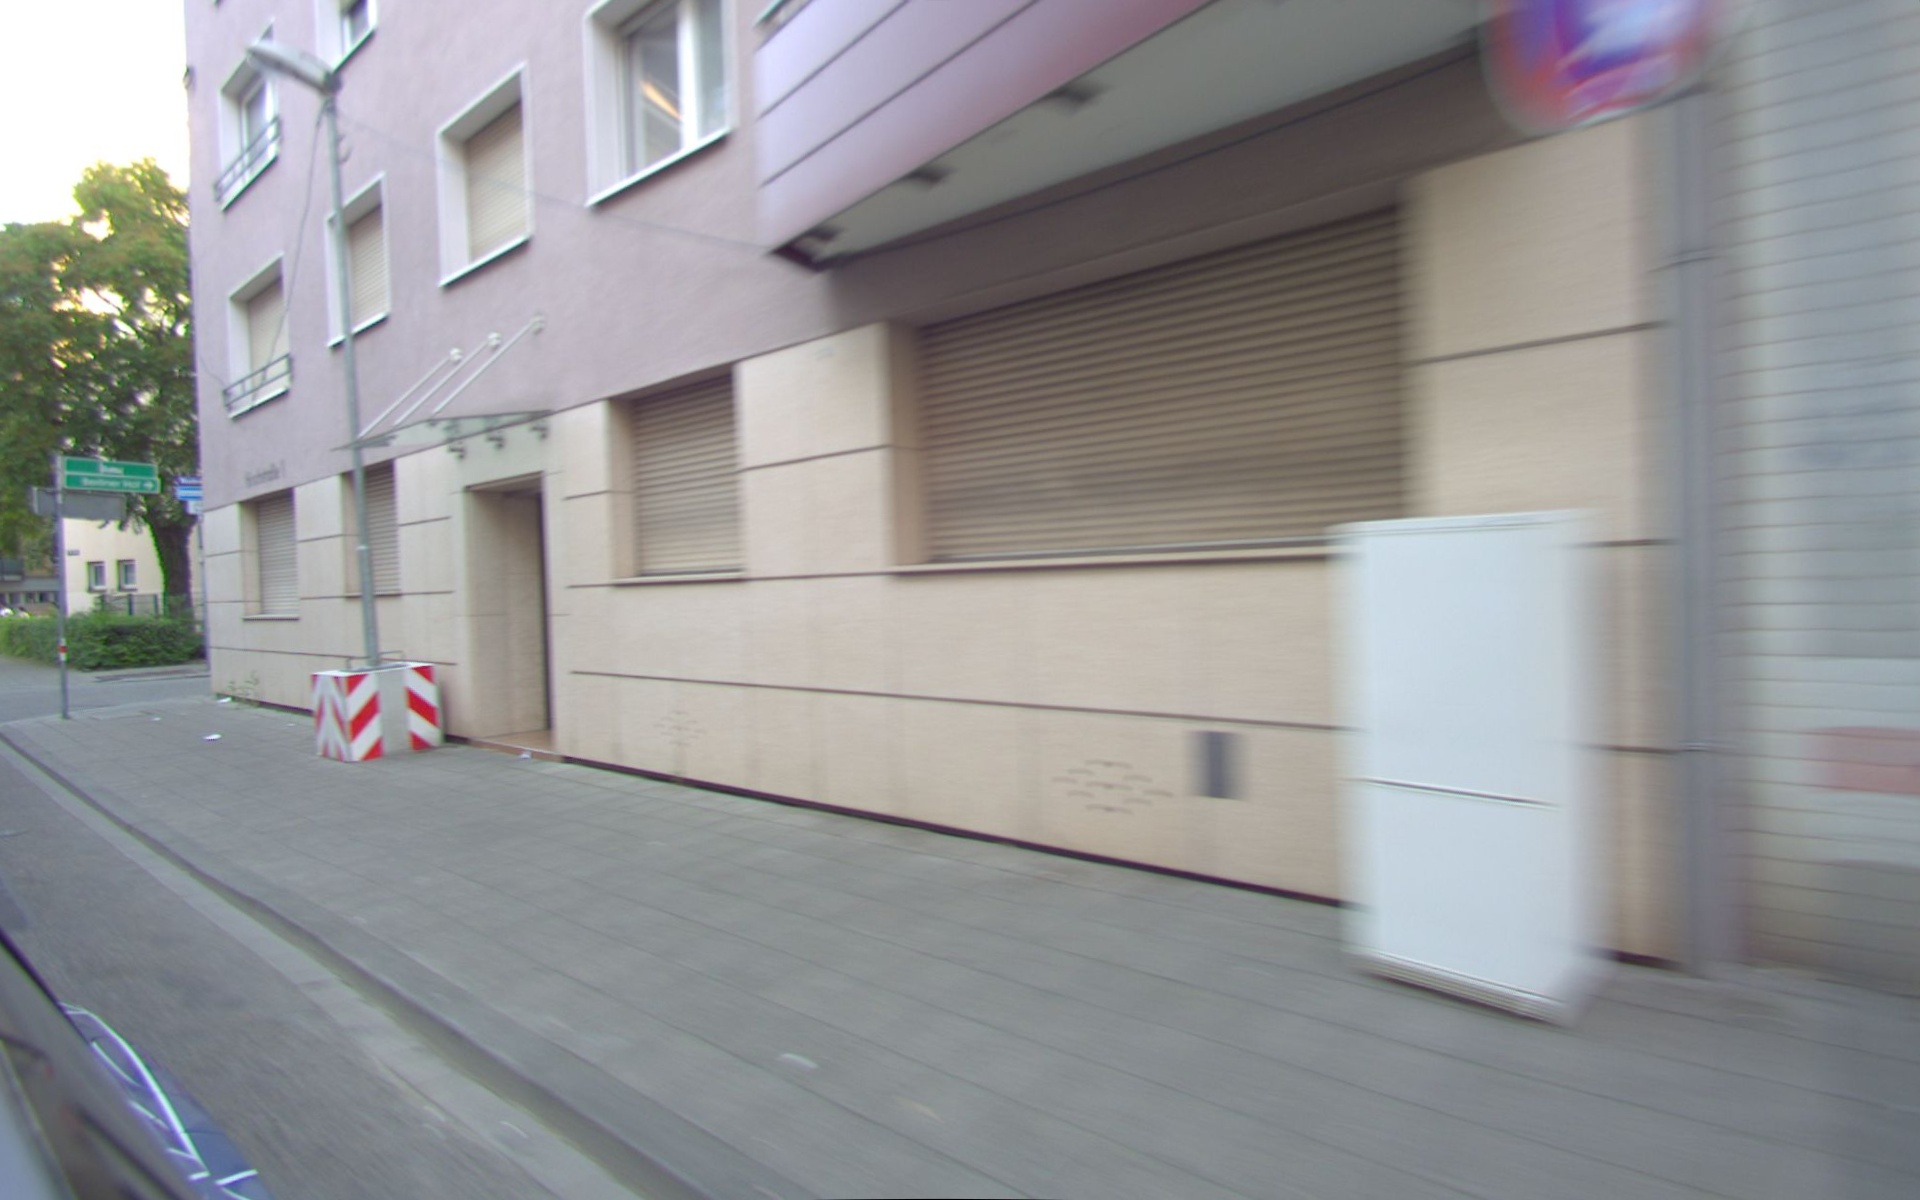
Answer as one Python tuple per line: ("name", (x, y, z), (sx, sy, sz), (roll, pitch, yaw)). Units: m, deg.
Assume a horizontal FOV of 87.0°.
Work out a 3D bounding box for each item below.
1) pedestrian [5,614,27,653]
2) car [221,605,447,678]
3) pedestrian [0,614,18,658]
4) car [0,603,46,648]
("pedestrian", (-39.465, 1.405, 42.313), (0.657, 1.584, 0.445), (-1, 0, 23))
("car", (-14.958, 0.930, 24.371), (1.684, 1.469, 4.302), (-1, 1, 39))
("pedestrian", (-40.520, 1.526, 42.833), (0.694, 1.801, 0.660), (-2, 0, 23))
("car", (-51.387, 1.286, 53.926), (4.598, 2.149, 2.024), (2, 2, 19))
